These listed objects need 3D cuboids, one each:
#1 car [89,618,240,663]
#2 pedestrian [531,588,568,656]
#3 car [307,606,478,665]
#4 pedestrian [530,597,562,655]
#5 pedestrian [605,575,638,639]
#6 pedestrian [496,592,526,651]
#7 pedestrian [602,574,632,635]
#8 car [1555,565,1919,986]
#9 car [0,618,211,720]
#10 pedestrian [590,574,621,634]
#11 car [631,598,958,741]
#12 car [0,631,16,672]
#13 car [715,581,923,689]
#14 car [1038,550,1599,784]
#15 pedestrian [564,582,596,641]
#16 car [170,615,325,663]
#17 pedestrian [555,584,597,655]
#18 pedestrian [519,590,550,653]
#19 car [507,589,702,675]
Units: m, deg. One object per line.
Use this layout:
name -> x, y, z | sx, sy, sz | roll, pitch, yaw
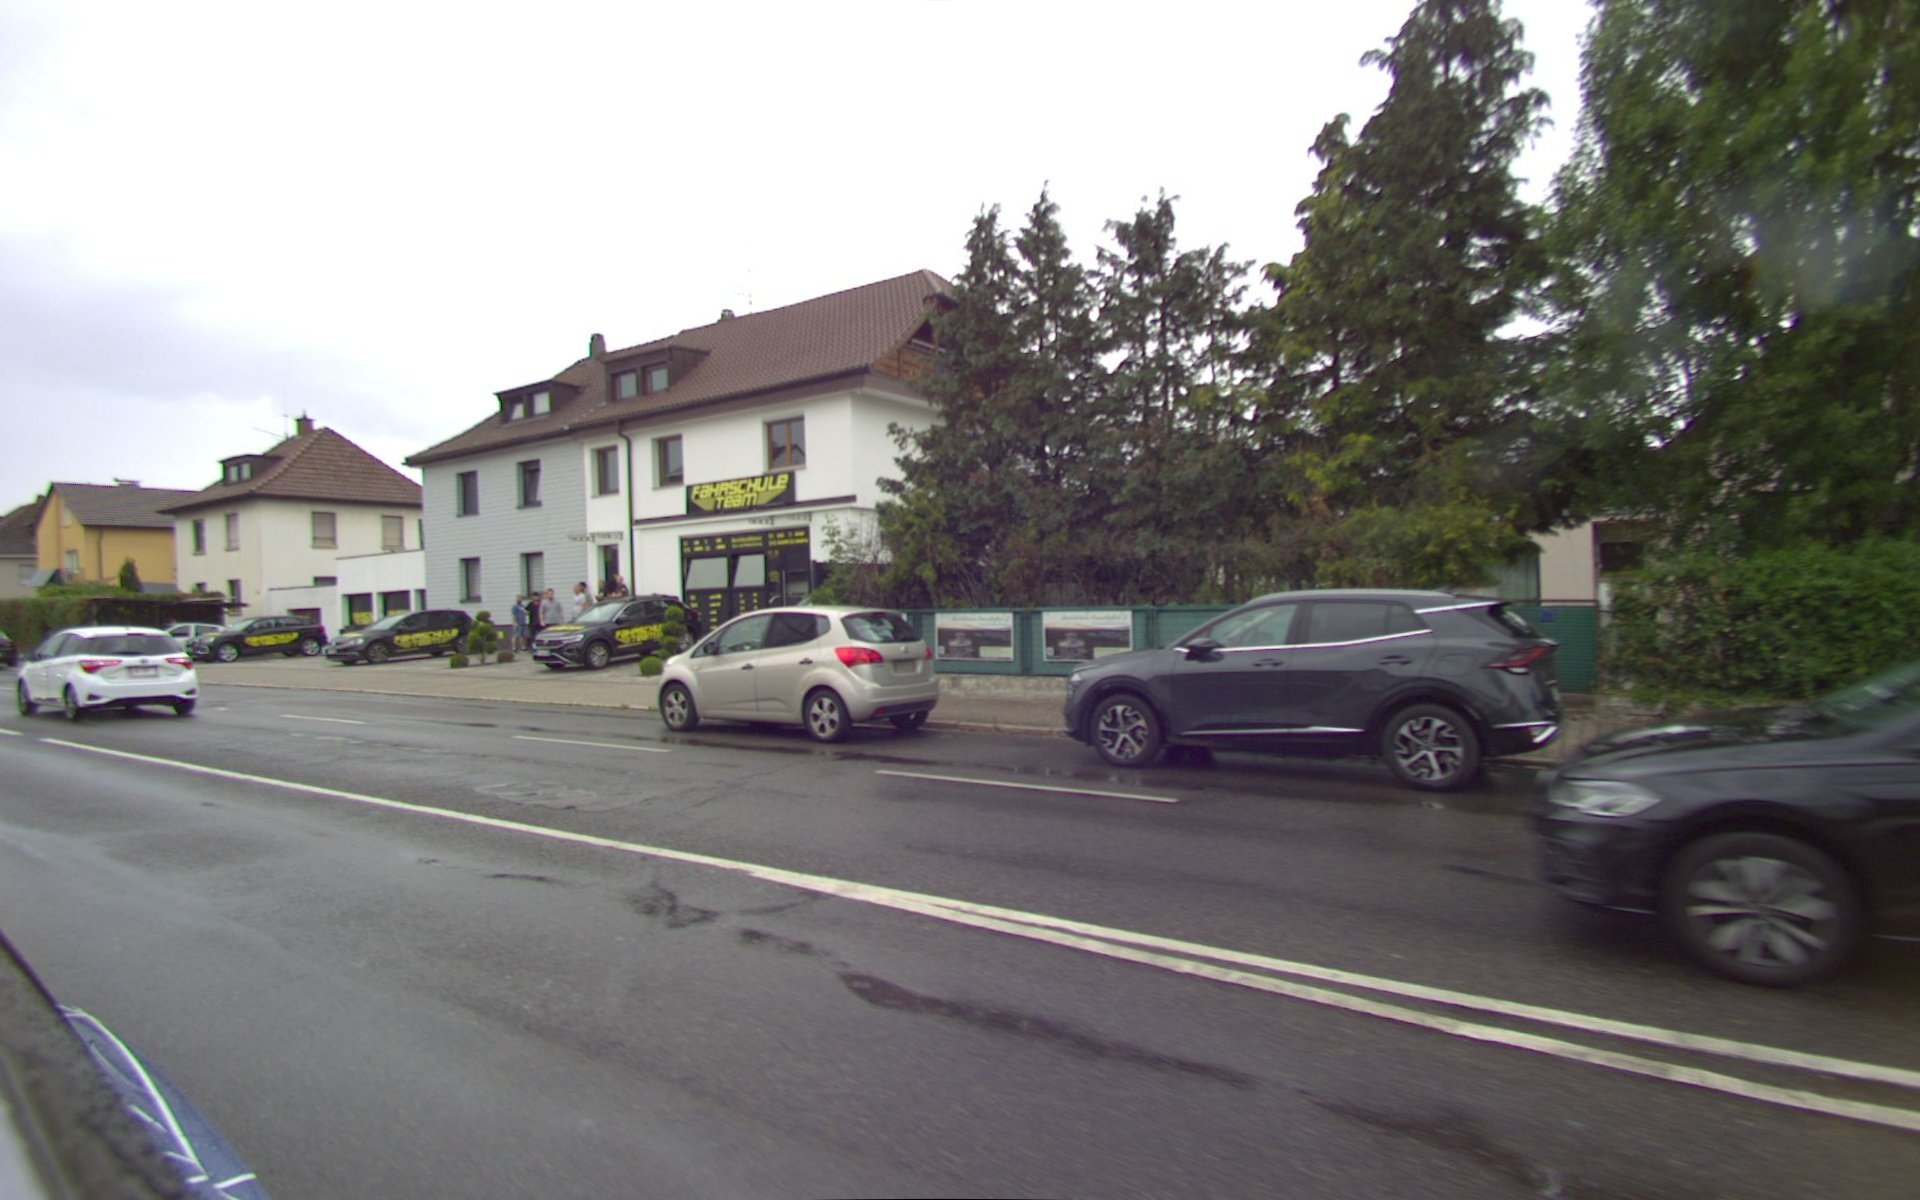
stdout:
car -> -30.144, 1.590, 38.475 | 1.831, 1.495, 4.073 | -2, -5, 28
pedestrian -> -11.267, 0.589, 27.757 | 0.539, 1.802, 0.662 | -2, 2, 38
car -> -16.663, 1.016, 29.867 | 1.880, 1.430, 3.954 | -2, 1, 35
pedestrian -> -12.541, 0.786, 30.640 | 0.560, 1.720, 0.582 | -2, 2, 33
pedestrian -> -9.223, 0.175, 27.575 | 0.664, 1.682, 0.693 | -4, 2, -26
pedestrian -> -13.549, 0.647, 30.555 | 0.688, 1.766, 0.442 | -2, 2, 36
pedestrian -> -9.694, 0.131, 28.625 | 0.512, 1.682, 0.511 | -1, 2, 40
car -> 4.650, 0.619, 3.829 | 3.991, 1.514, 1.697 | -1, -1, 36
car -> -14.671, 1.111, 17.329 | 3.991, 1.542, 1.817 | -2, -2, 35
pedestrian -> -10.322, 0.119, 29.473 | 0.549, 1.682, 0.568 | -2, 2, 33
car -> -2.223, 0.798, 13.114 | 4.133, 1.580, 1.789 | -1, -1, 35
car -> -35.740, 1.853, 36.438 | 3.991, 1.426, 1.789 | -2, -2, 35
car -> -2.726, 0.621, 20.454 | 1.736, 1.733, 4.145 | -2, 3, 35
car -> 3.149, 0.518, 9.366 | 4.588, 1.682, 1.789 | -1, -1, 35
pedestrian -> -11.129, 0.337, 29.633 | 0.574, 1.682, 0.577 | -2, 2, 33
car -> -24.960, 1.345, 35.592 | 1.880, 1.430, 4.064 | -2, 0, 35
pedestrian -> -10.472, 0.521, 27.618 | 0.686, 1.880, 0.725 | -1, 2, 40
pedestrian -> -12.423, 0.626, 29.531 | 0.643, 1.800, 0.649 | -3, 0, -32
car -> -8.389, 0.708, 24.169 | 1.868, 1.576, 3.954 | -3, 3, 35
